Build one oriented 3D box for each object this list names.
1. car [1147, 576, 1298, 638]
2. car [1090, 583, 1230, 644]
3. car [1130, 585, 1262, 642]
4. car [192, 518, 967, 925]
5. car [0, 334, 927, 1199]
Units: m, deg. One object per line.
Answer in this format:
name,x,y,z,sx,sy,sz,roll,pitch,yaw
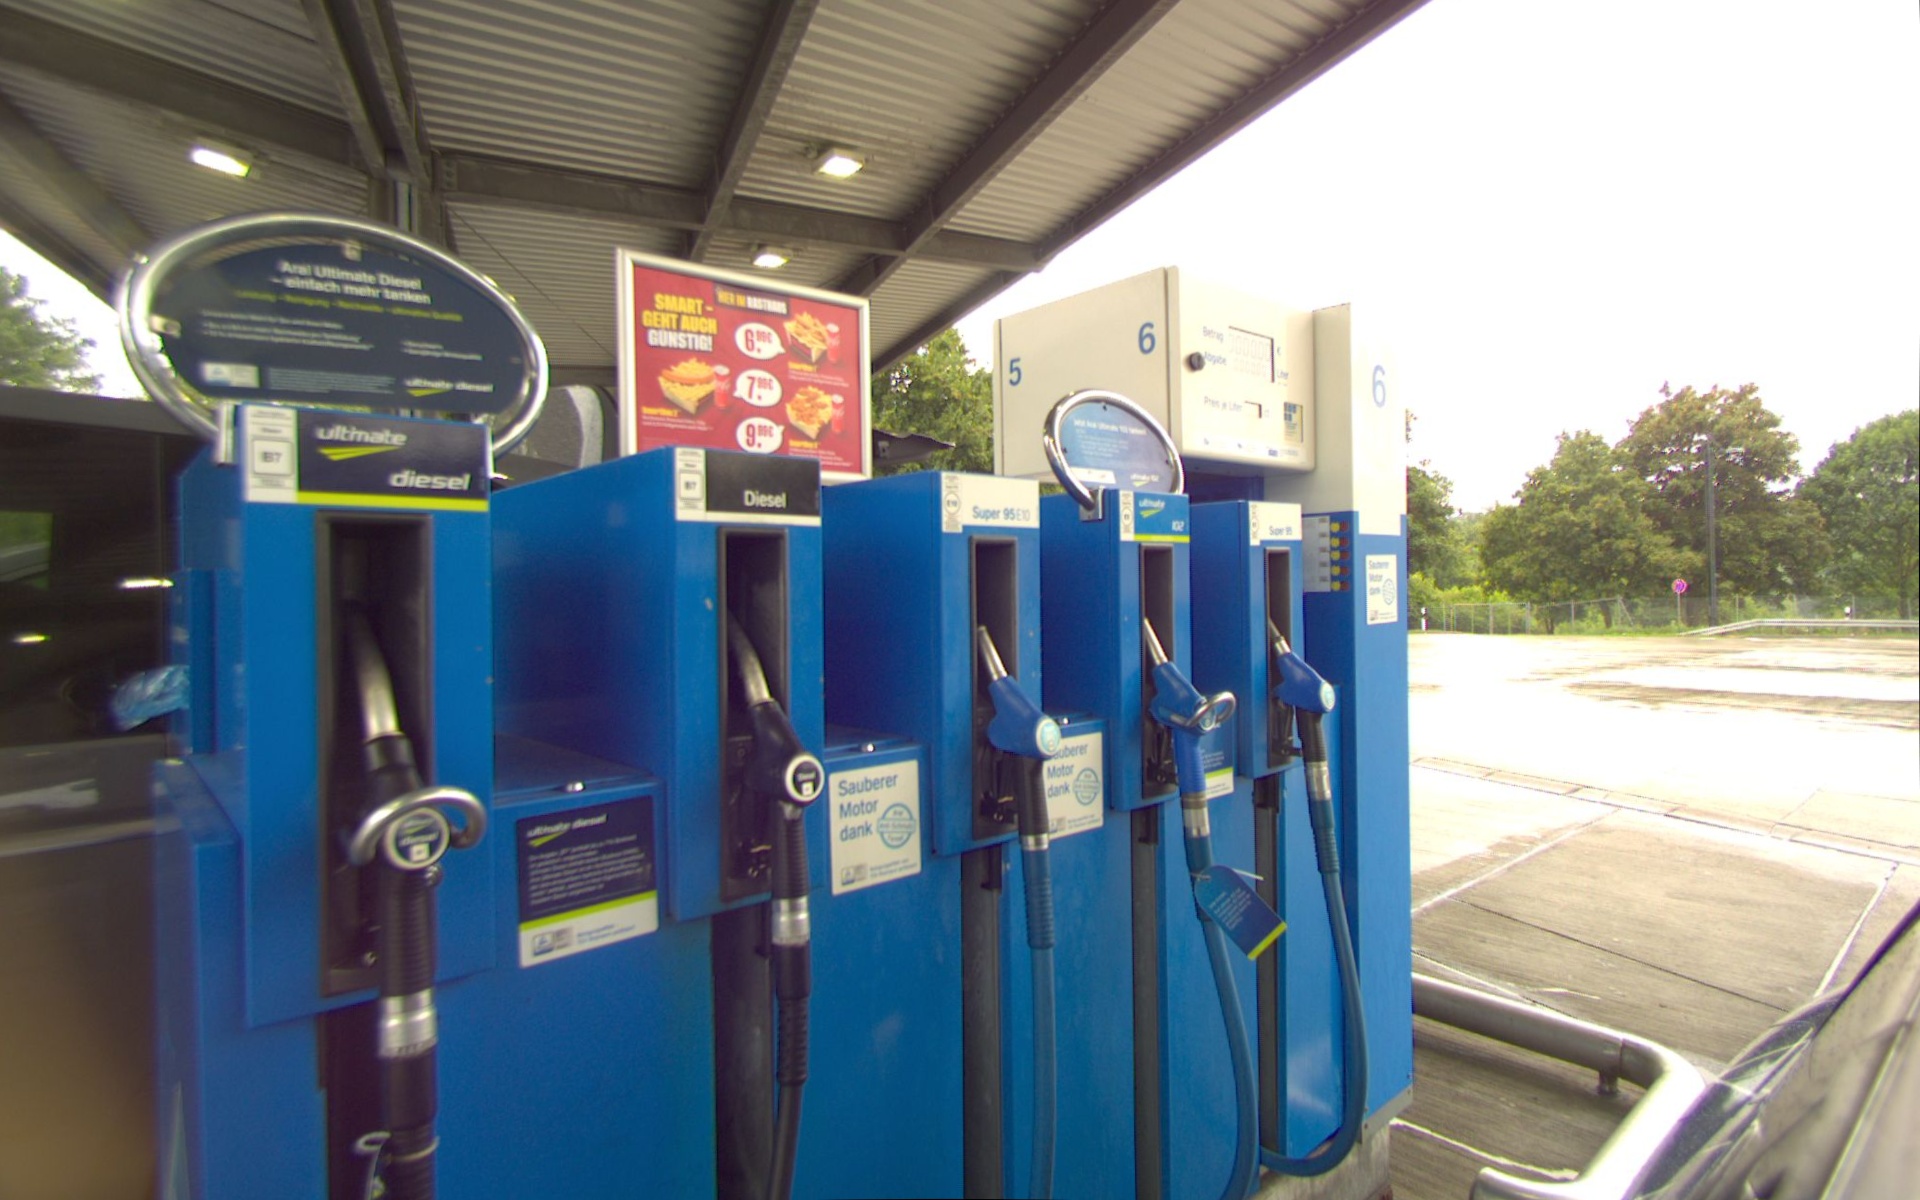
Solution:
car,8.888,0.206,34.506,4.817,1.974,2.306,1,1,14
car,5.871,0.373,29.732,3.941,1.680,1.593,1,0,14
car,7.426,0.384,31.923,3.941,1.680,1.593,1,0,14
car,-2.236,0.518,6.706,4.460,1.821,1.864,-1,0,-41
car,-2.600,0.503,1.820,5.050,1.821,1.864,-1,0,-41
